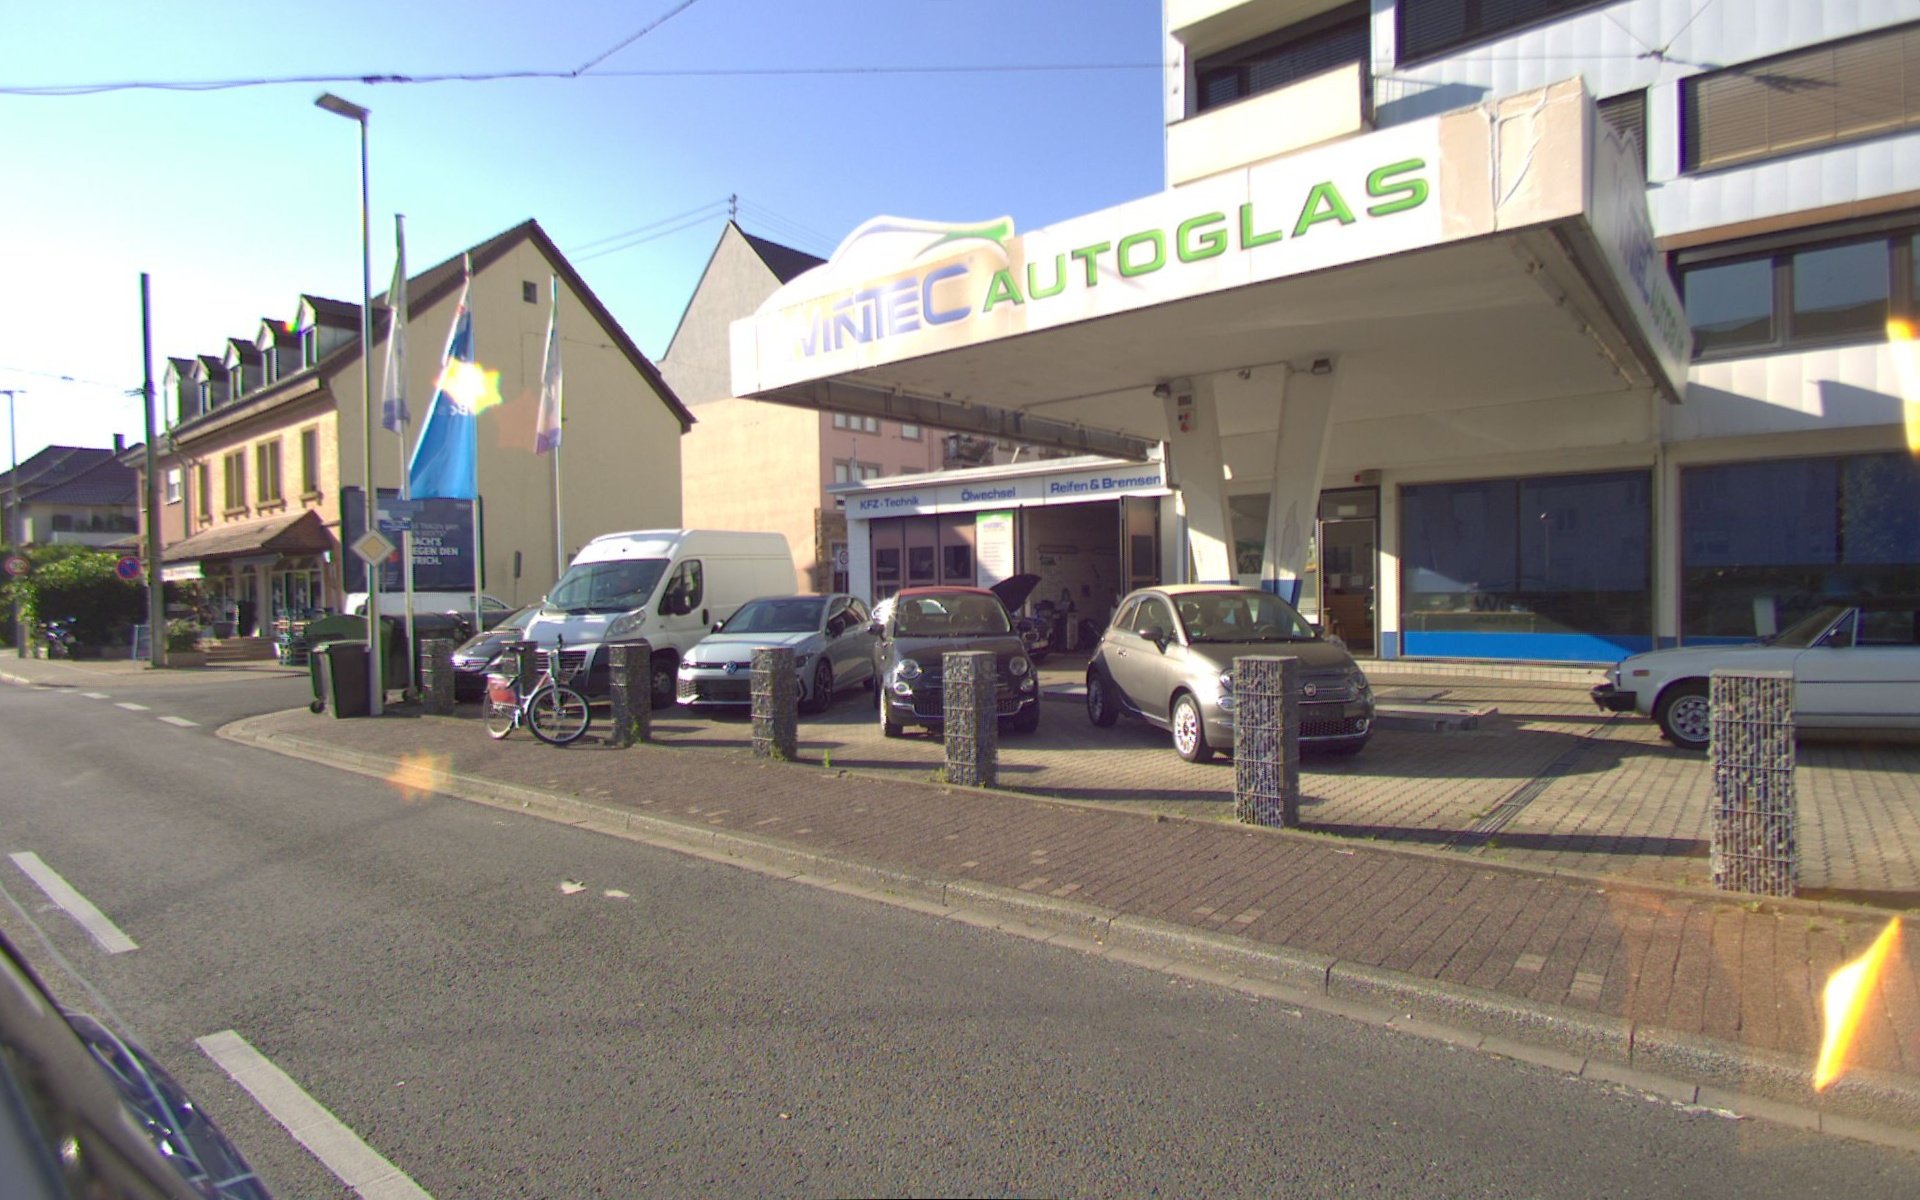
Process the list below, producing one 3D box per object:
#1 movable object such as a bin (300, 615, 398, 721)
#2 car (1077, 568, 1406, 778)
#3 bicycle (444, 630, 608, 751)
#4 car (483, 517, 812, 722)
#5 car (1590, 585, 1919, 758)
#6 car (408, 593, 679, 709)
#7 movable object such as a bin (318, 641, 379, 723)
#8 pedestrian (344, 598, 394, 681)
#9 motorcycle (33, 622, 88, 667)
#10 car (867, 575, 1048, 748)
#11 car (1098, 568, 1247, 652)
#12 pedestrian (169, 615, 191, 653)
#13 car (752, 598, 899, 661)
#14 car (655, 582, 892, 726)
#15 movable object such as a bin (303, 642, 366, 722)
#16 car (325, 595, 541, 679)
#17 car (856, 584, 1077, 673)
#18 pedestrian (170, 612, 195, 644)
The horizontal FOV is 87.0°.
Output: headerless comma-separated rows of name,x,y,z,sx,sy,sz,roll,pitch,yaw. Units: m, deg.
movable object such as a bin,-9.460,1.037,15.725,1.040,1.494,1.316,-3,-2,-22
car,2.411,0.546,9.556,1.595,1.580,3.401,-1,0,-11
bicycle,-4.693,0.932,10.921,1.774,1.186,0.718,-1,0,31
car,-4.303,0.202,15.005,2.091,2.488,5.042,-1,1,18
car,7.694,0.537,8.317,4.131,1.294,1.572,-2,-1,37
car,-6.726,0.755,16.806,1.763,1.580,3.966,-2,1,26
movable object such as a bin,-8.576,1.144,14.192,0.631,1.077,0.581,-2,-2,-38
pedestrian,-13.963,0.917,23.907,0.820,1.882,0.784,-2,0,43
motorcycle,-27.838,1.342,31.316,2.229,1.292,0.831,-1,1,37
car,-0.169,0.564,11.259,1.597,1.580,3.399,-1,0,-7
car,5.039,0.187,23.598,1.769,1.722,4.263,-2,1,36
pedestrian,-26.902,1.176,34.909,0.465,1.268,0.517,-1,0,41
car,-3.875,0.792,29.570,1.999,1.536,3.947,4,4,40
car,-2.281,0.592,13.522,1.754,1.580,3.987,-2,1,11
movable object such as a bin,-9.045,1.174,14.630,0.652,1.070,0.586,-4,0,-38
car,-13.593,0.876,26.354,1.997,1.947,4.571,-1,0,38
car,0.059,0.560,20.496,4.311,1.580,1.750,-2,1,39
pedestrian,-26.087,0.941,33.964,0.381,1.055,0.521,-1,0,24
